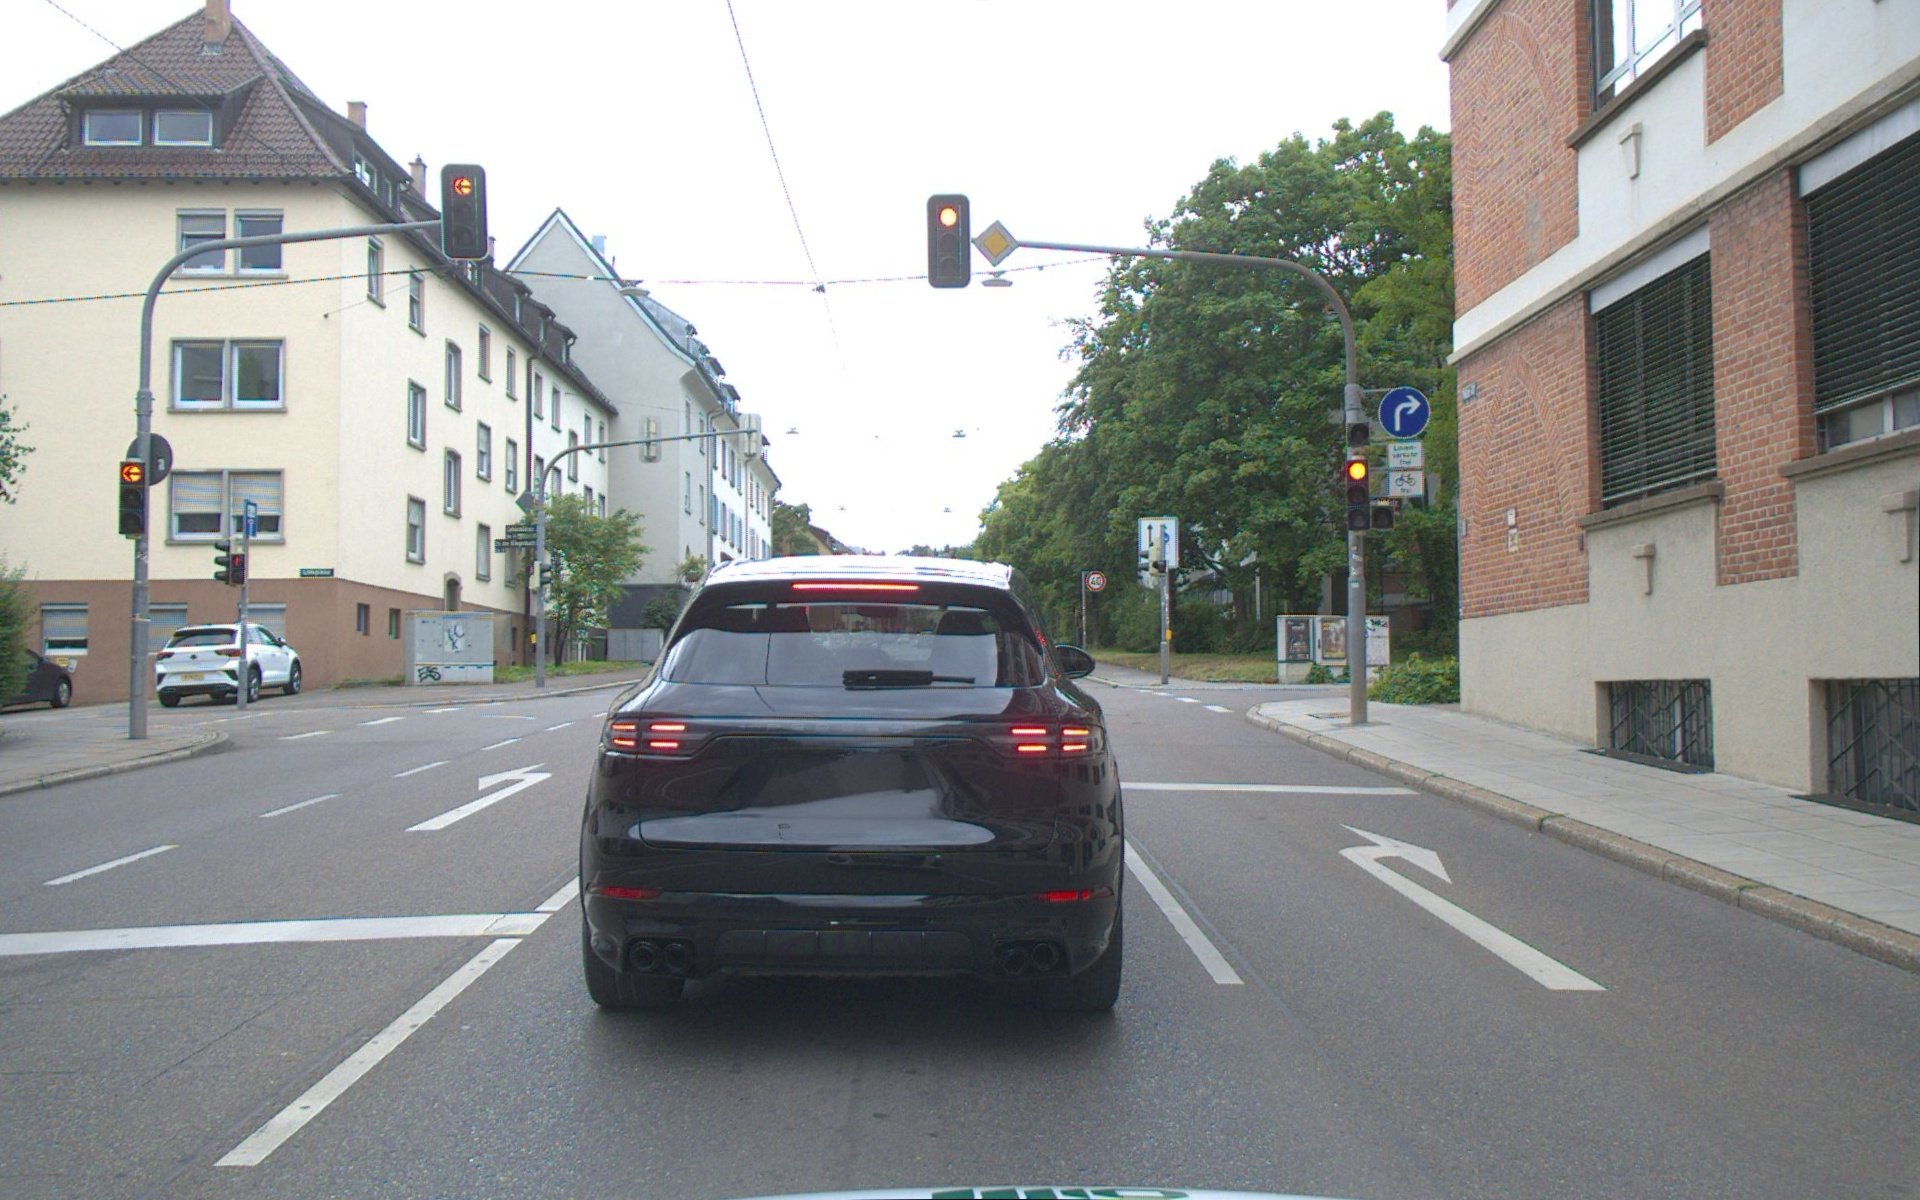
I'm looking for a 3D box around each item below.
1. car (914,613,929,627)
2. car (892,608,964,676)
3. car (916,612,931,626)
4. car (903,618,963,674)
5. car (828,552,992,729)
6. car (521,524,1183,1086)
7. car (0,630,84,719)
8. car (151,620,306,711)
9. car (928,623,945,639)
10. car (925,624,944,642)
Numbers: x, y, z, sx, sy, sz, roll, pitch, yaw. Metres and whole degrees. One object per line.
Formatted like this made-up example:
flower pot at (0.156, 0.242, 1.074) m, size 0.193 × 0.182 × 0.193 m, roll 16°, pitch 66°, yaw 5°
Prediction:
car at (-4.718, 2.450, 202.831) m, size 1.790 × 1.633 × 4.134 m, roll 1°, pitch 0°, yaw -1°
car at (-0.835, 1.076, 43.788) m, size 1.790 × 1.633 × 4.134 m, roll 1°, pitch 0°, yaw -1°
car at (-4.646, 2.399, 210.159) m, size 1.790 × 1.633 × 4.134 m, roll 1°, pitch 0°, yaw -1°
car at (-0.841, 1.429, 52.501) m, size 1.790 × 1.633 × 3.858 m, roll 1°, pitch 0°, yaw -1°
car at (-0.614, 0.480, 21.877) m, size 1.925 × 2.078 × 4.134 m, roll 1°, pitch 0°, yaw -1°
car at (-0.349, 0.627, 7.231) m, size 2.007 × 1.695 × 4.266 m, roll 1°, pitch 0°, yaw -1°
car at (-19.625, 1.519, 33.753) m, size 1.658 × 1.636 × 3.762 m, roll -3°, pitch 0°, yaw -5°
car at (-14.719, 1.274, 33.482) m, size 1.658 × 1.582 × 3.762 m, roll -3°, pitch 0°, yaw -5°
car at (-2.599, 3.428, 182.388) m, size 1.790 × 1.633 × 4.134 m, roll 1°, pitch 0°, yaw -1°
car at (-2.526, 3.265, 163.216) m, size 1.790 × 1.633 × 4.134 m, roll 1°, pitch 0°, yaw -1°
